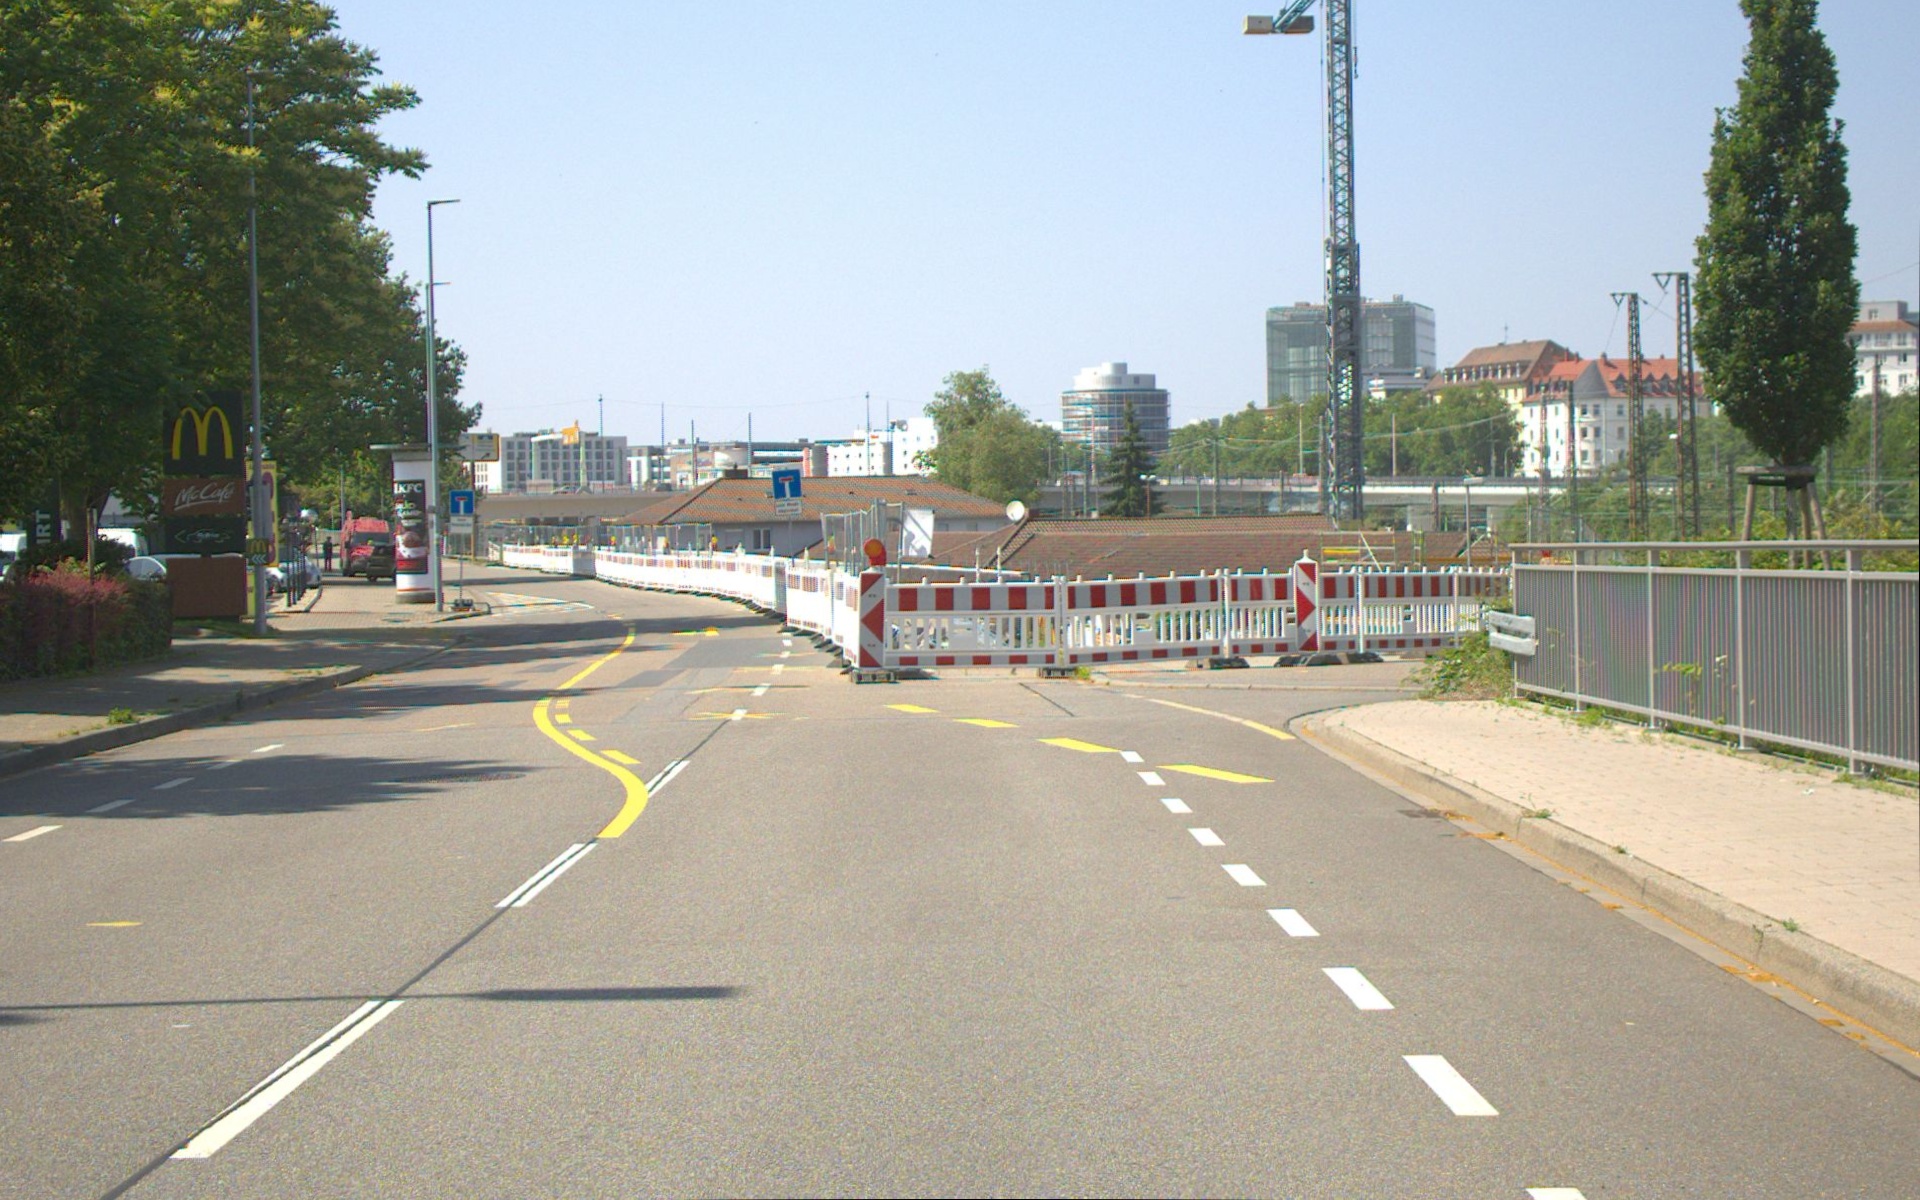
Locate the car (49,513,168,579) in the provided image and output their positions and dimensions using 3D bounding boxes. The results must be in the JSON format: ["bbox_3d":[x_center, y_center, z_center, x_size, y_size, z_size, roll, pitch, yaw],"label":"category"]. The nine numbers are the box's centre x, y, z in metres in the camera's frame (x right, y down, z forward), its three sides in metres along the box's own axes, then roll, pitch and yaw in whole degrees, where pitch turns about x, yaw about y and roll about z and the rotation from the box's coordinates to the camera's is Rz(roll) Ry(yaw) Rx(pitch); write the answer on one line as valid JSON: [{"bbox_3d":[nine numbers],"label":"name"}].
[{"bbox_3d":[-25.640,-1.607,103.431,1.823,1.923,3.998,-2,1,-41],"label":"car"}]
